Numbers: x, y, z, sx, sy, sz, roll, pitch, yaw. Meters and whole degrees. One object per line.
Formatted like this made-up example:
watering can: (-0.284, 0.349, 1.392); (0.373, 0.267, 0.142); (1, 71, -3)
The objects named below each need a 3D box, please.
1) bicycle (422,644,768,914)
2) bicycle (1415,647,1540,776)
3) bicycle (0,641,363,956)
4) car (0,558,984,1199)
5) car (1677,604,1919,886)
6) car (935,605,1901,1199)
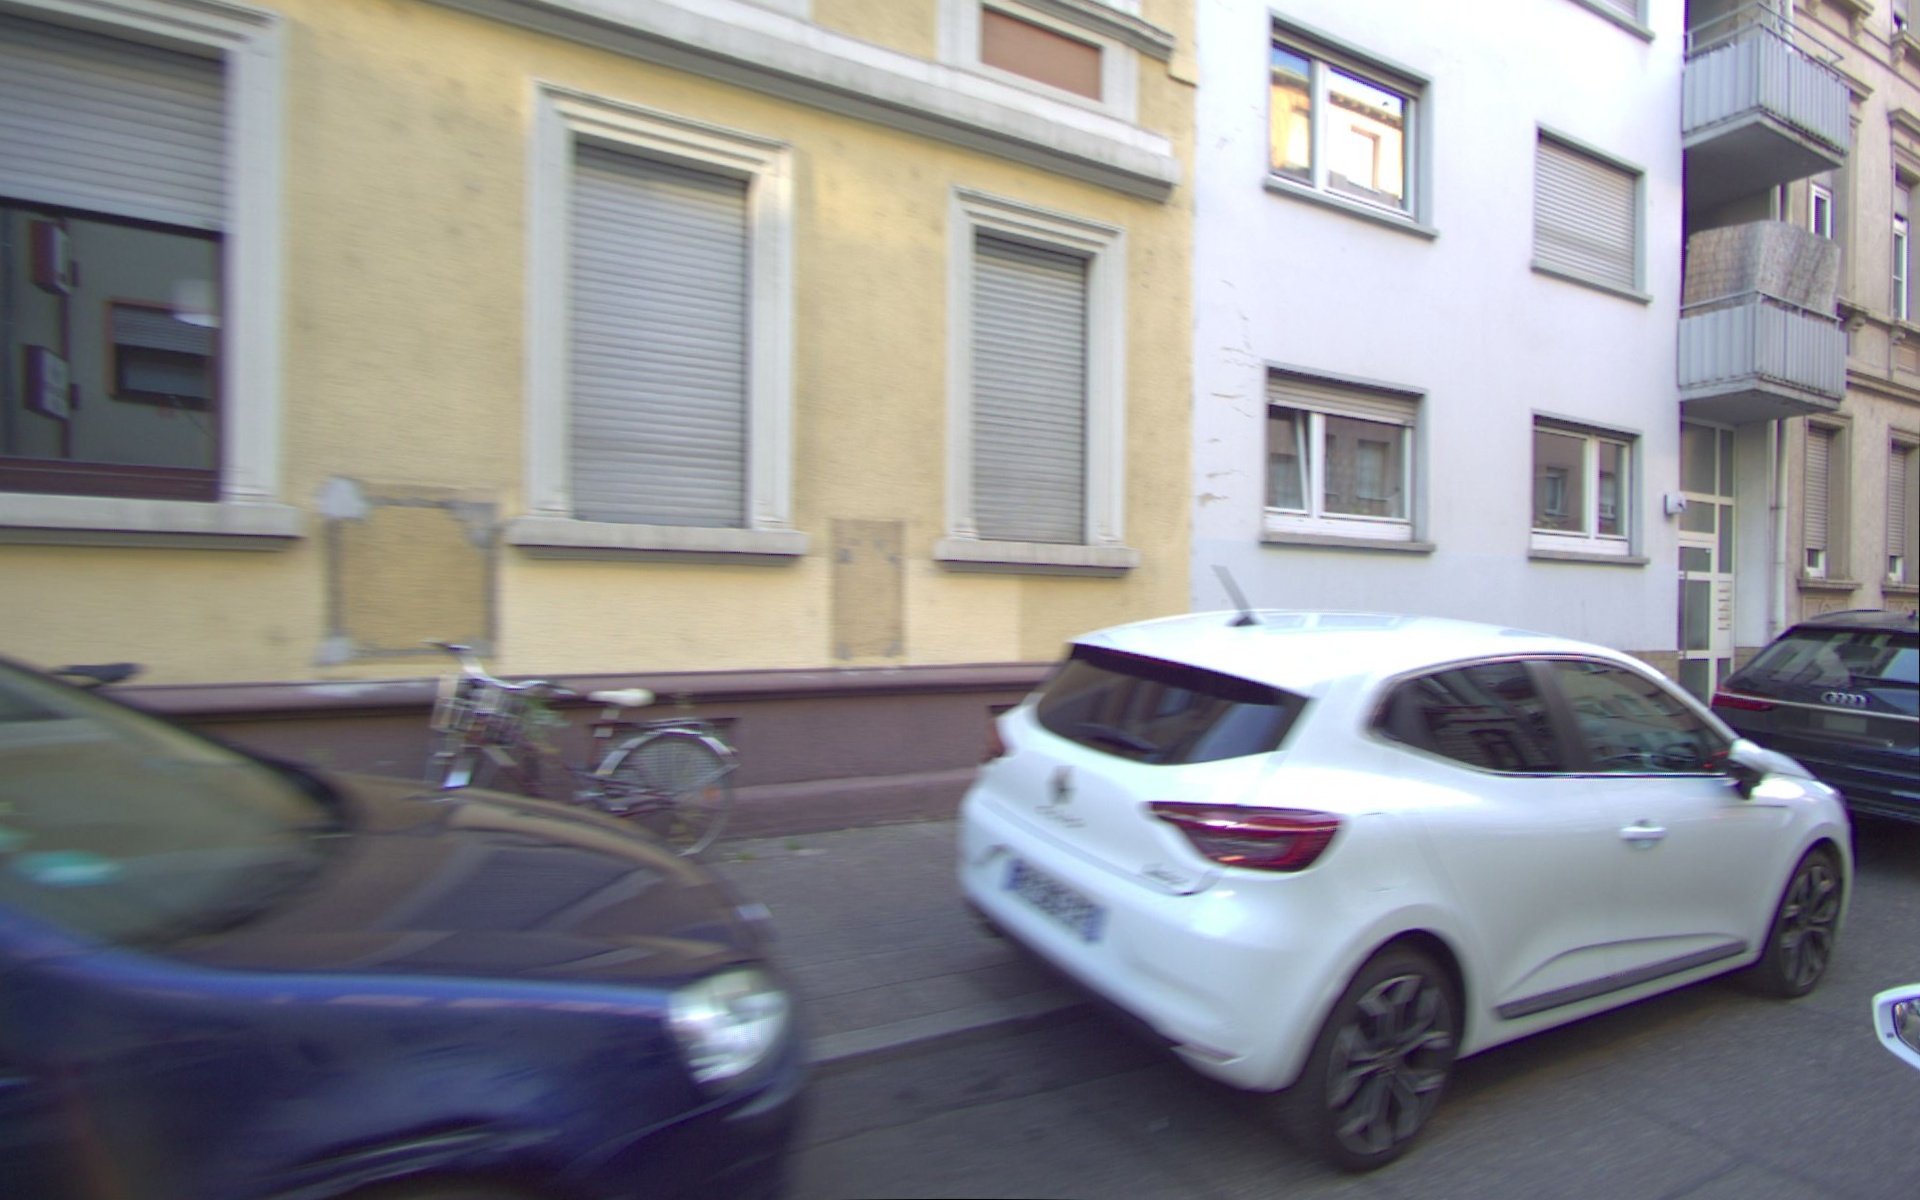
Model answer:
bicycle: (-1.728, 0.794, 4.855); (1.525, 1.130, 0.380); (1, 0, -29)
bicycle: (4.542, 0.941, 8.778); (1.528, 1.022, 0.290); (1, -1, -35)
bicycle: (-3.291, 0.743, 4.020); (1.525, 1.130, 0.380); (1, 0, -29)
car: (-2.050, 0.704, 1.674); (3.904, 1.509, 1.632); (1, -1, -28)
car: (7.090, 0.831, 6.966); (4.440, 1.559, 1.782); (1, -1, -30)
car: (1.924, 0.793, 3.982); (3.743, 1.509, 1.631); (1, -1, -30)
